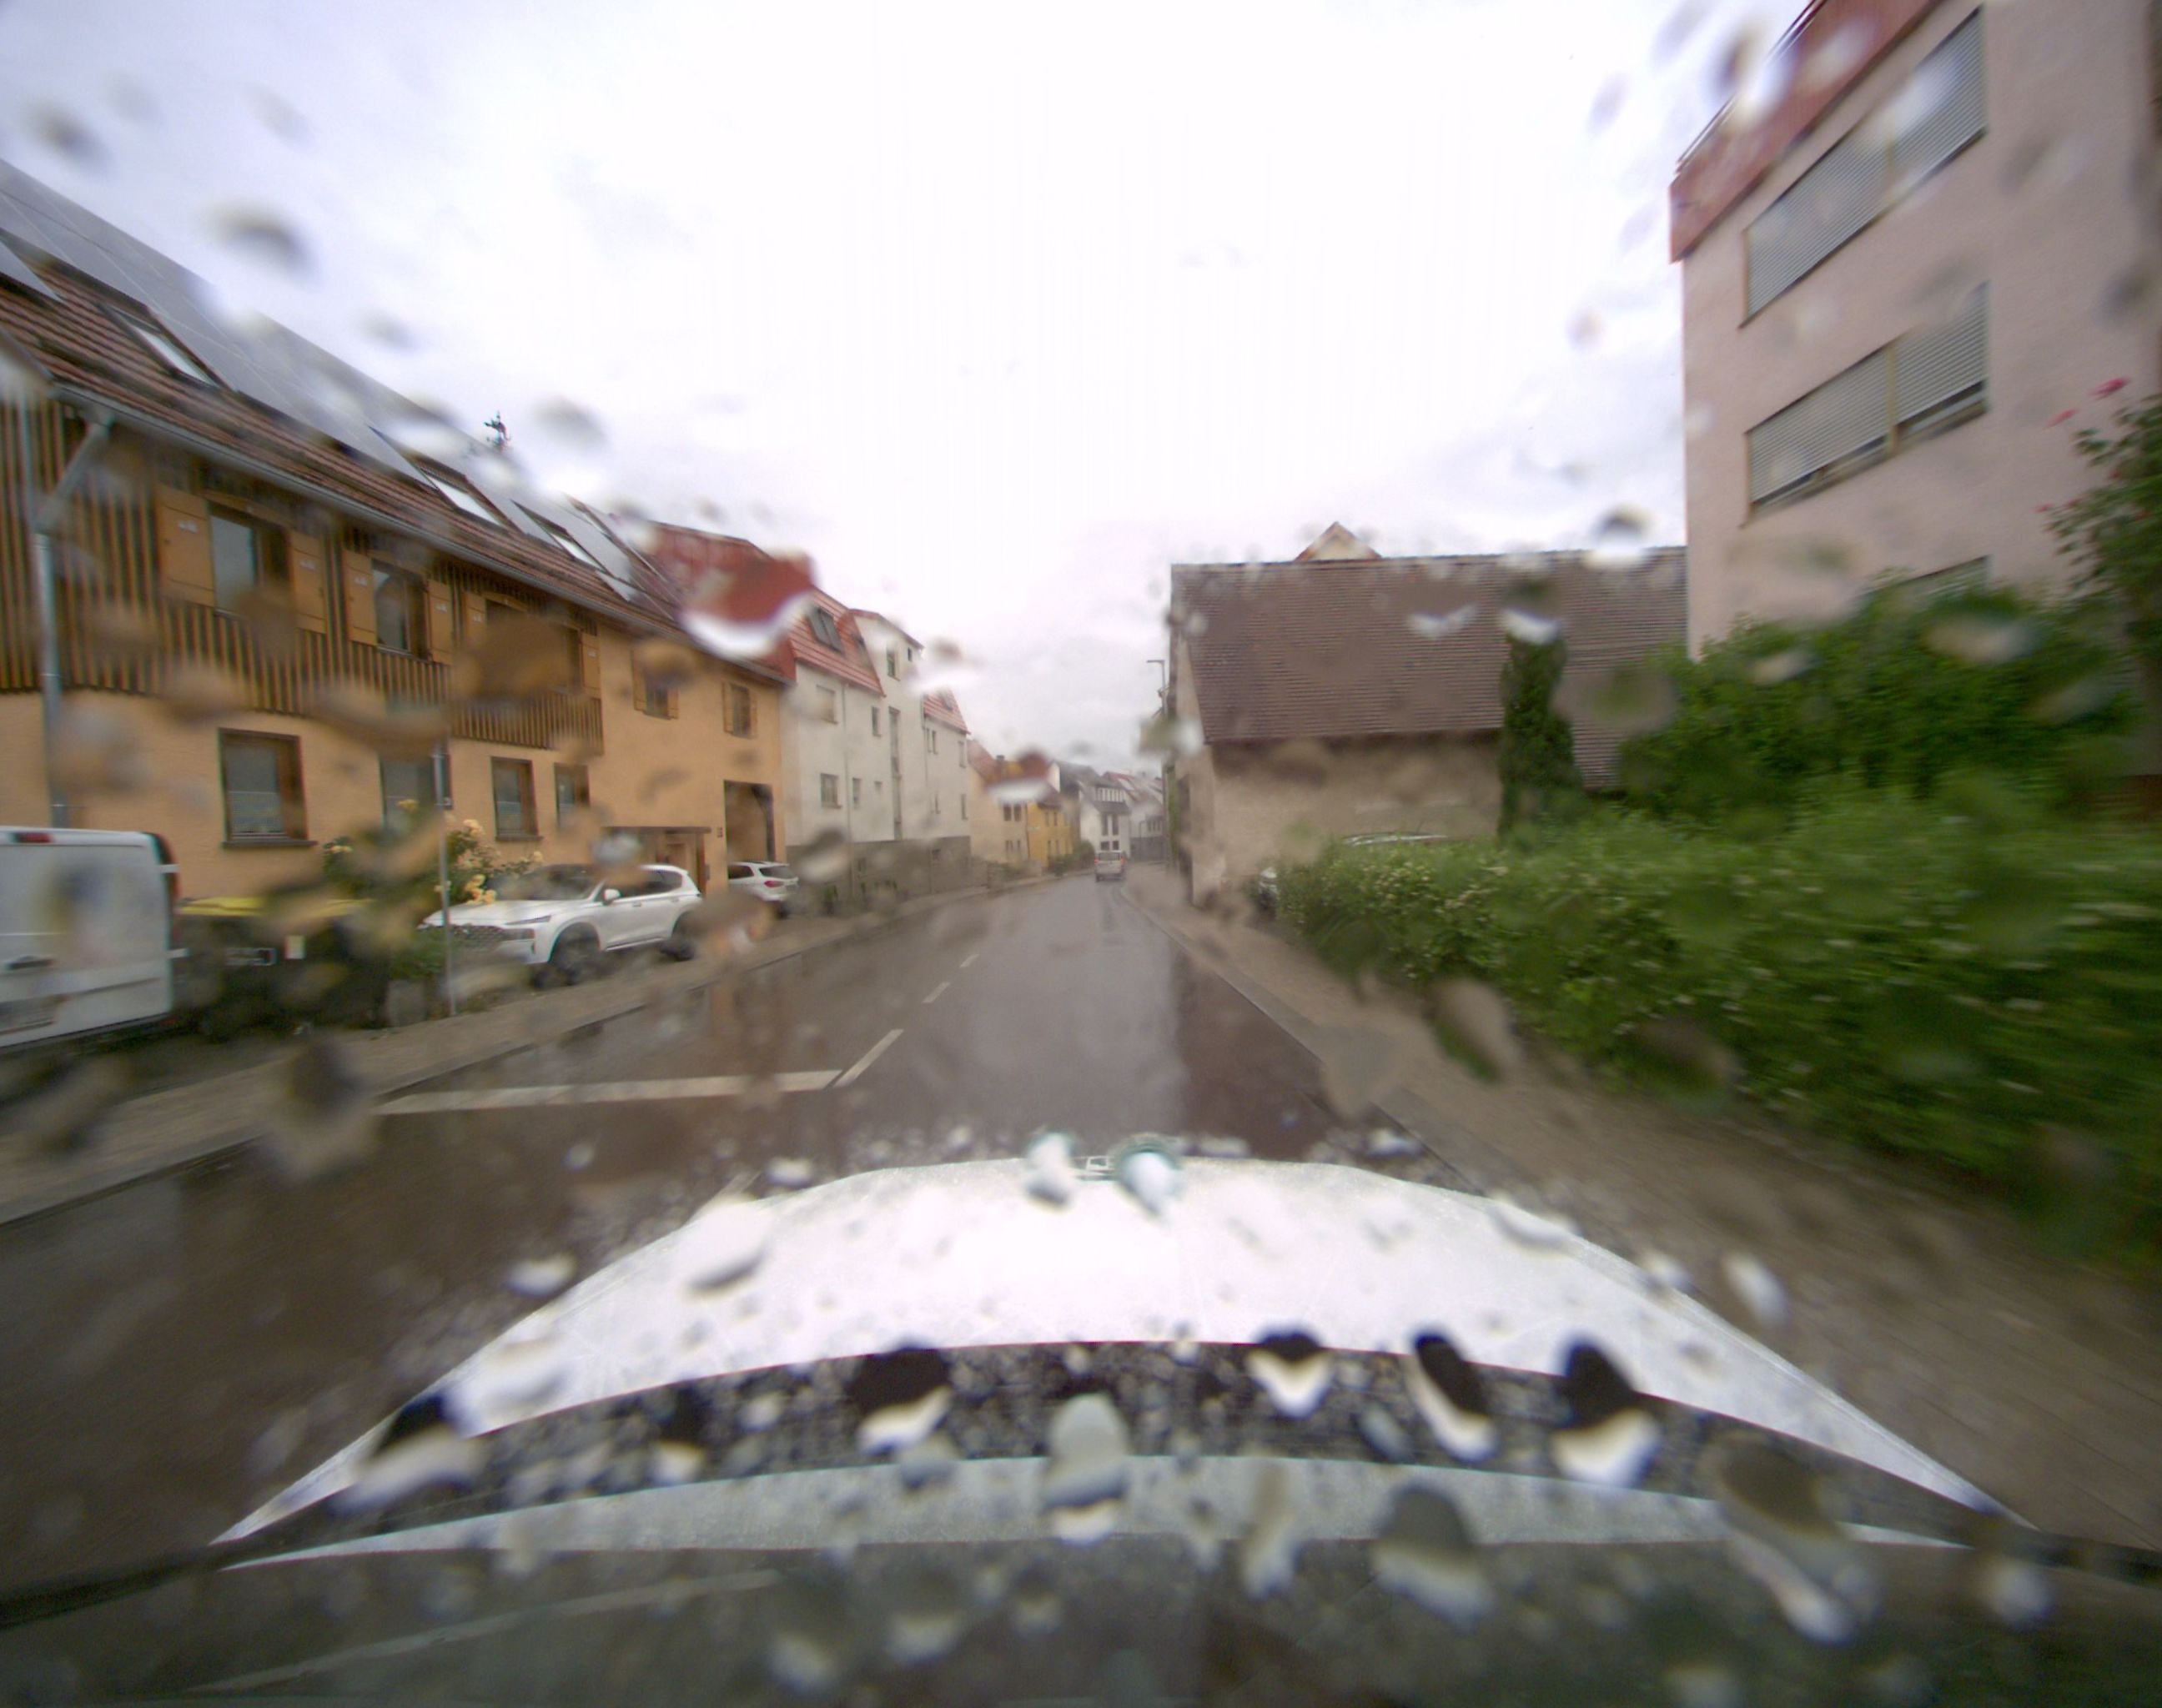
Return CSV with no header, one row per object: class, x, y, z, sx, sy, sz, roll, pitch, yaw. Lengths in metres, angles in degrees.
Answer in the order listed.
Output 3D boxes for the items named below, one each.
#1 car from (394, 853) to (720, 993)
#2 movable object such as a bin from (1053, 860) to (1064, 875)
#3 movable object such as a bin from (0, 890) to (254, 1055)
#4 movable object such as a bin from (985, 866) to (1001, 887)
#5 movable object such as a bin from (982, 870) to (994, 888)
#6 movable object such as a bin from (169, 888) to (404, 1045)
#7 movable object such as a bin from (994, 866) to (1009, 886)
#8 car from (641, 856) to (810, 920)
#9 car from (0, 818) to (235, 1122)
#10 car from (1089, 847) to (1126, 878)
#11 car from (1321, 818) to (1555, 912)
car,-7.738,0.887,12.719,1.806,1.706,4.622,-2,0,4
movable object such as a bin,-1.690,1.013,61.745,0.655,1.056,0.765,0,0,10
movable object such as a bin,-9.055,1.061,7.647,1.503,1.368,0.995,-1,0,-3
movable object such as a bin,-4.777,1.219,44.284,0.677,1.066,0.696,-1,0,8
movable object such as a bin,-4.970,1.341,43.515,0.503,0.922,0.580,-1,0,6
movable object such as a bin,-7.643,1.044,7.915,1.283,1.368,0.995,0,0,-3
movable object such as a bin,-4.366,1.203,44.799,0.677,1.045,0.663,-1,0,8
car,-10.087,0.920,23.289,3.968,1.670,1.881,1,0,5
car,-9.381,0.708,5.672,4.506,1.979,1.994,1,1,-9
car,1.768,0.515,52.338,2.185,1.851,4.308,-3,0,3
car,7.636,0.223,17.753,4.203,1.649,1.903,-4,0,1
